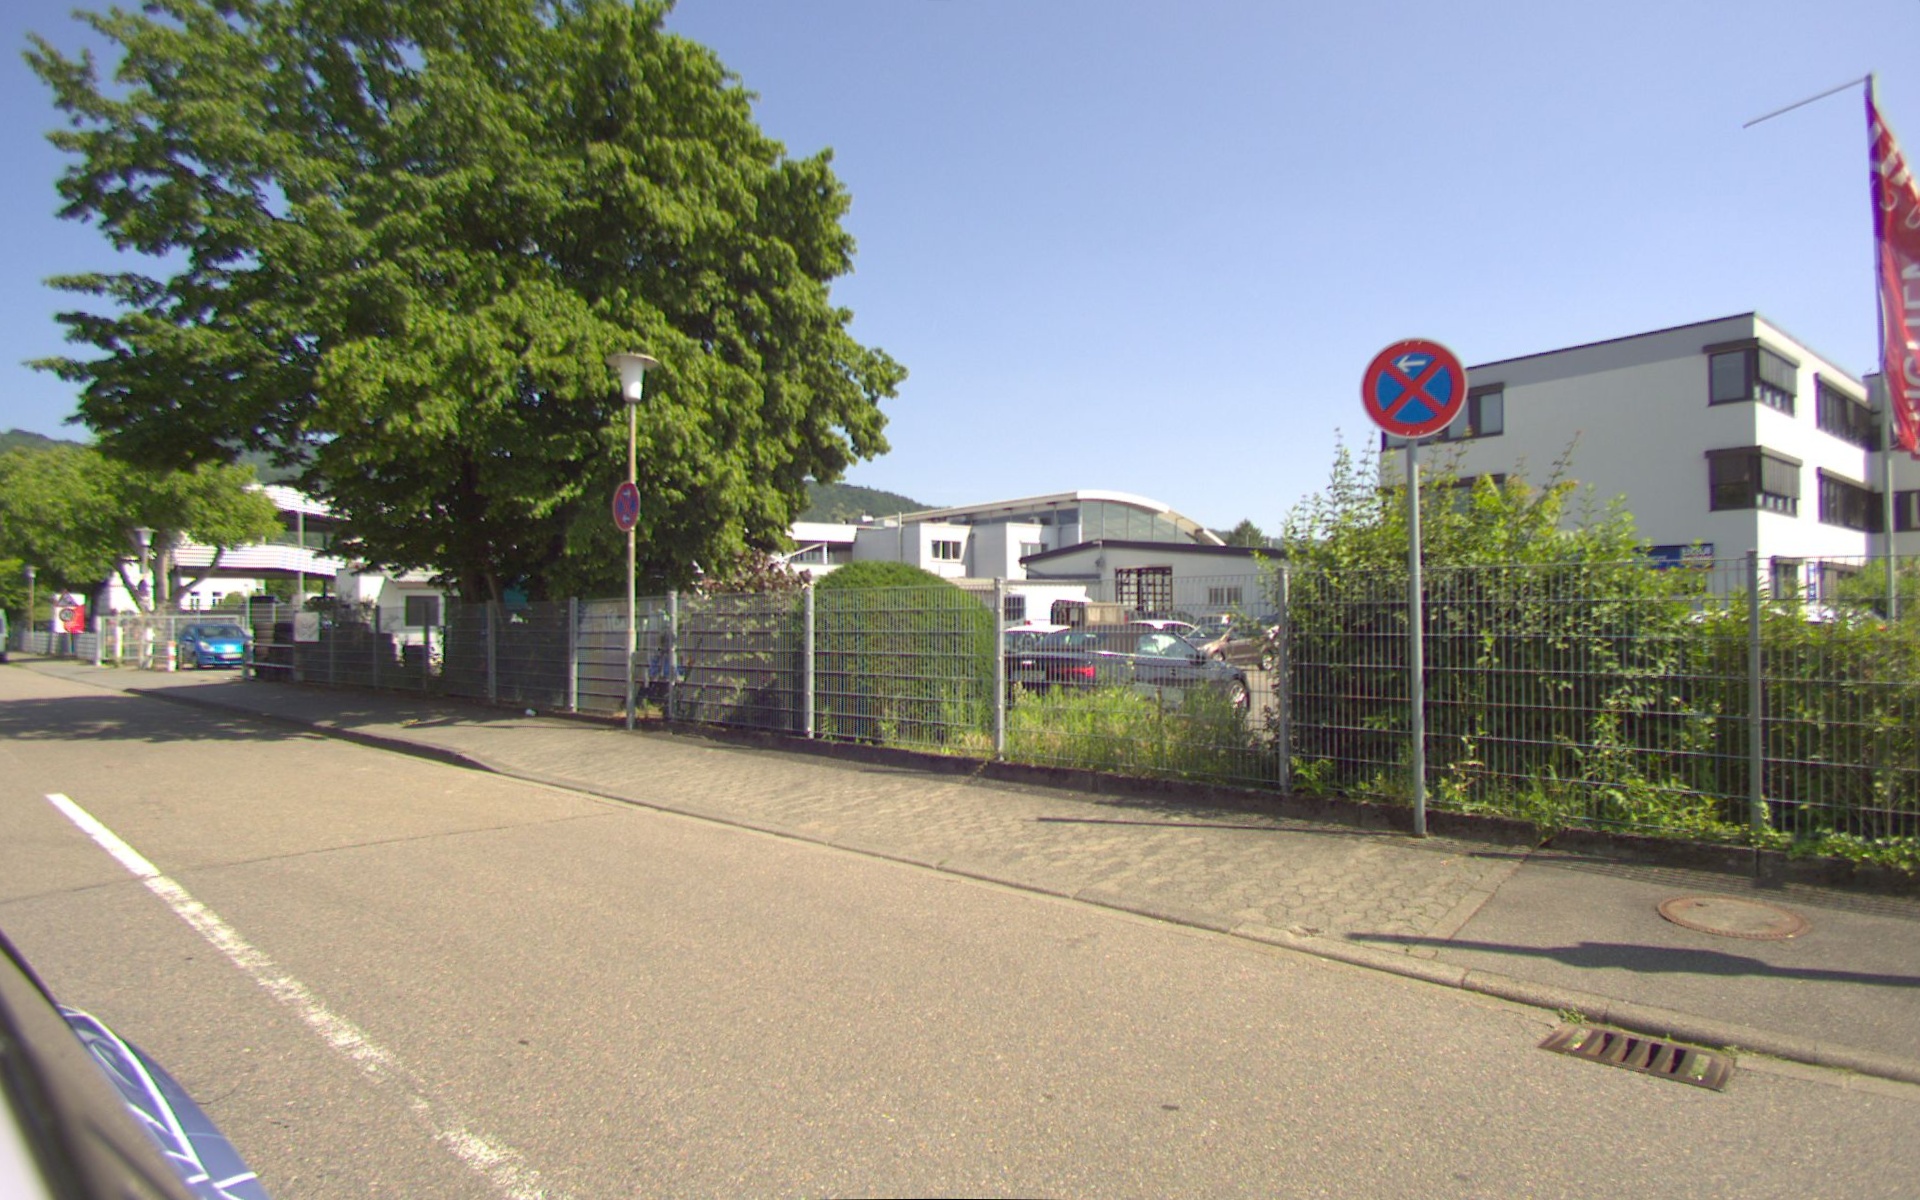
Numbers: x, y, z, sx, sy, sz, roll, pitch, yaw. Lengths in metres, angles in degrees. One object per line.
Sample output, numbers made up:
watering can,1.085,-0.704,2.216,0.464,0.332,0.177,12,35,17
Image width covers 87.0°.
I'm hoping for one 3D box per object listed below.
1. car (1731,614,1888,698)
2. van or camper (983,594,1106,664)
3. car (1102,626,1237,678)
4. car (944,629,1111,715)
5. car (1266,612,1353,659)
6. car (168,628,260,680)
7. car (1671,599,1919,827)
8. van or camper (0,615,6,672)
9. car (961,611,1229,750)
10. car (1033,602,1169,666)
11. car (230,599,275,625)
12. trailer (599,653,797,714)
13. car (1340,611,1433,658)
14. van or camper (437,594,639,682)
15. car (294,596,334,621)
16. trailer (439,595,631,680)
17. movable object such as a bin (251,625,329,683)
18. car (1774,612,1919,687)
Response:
car,17.362,1.088,20.642,3.775,1.553,1.744,1,-2,-39
van or camper,3.063,1.003,36.060,4.531,2.323,1.784,1,-1,-42
car,6.839,1.632,32.840,4.355,1.569,1.995,1,-2,-39
car,1.339,1.315,19.456,1.653,1.484,3.036,-2,-2,44
car,14.138,1.392,40.838,1.891,1.696,3.943,-1,1,43
car,-23.850,1.681,32.323,3.523,1.469,1.623,-1,1,41
car,7.077,0.774,8.165,1.713,1.444,3.899,0,-2,42
van or camper,-42.952,1.835,43.766,4.684,2.395,2.002,-1,-3,42
car,1.908,0.963,13.444,1.855,1.553,3.786,-2,-2,39
car,4.806,1.126,34.240,4.507,2.029,2.062,1,-2,-40
car,-41.567,0.754,59.515,1.680,1.469,3.536,1,-2,-27
trailer,-4.844,1.515,18.932,1.613,0.946,3.245,-2,-2,44
car,16.356,1.305,38.720,2.000,1.697,3.943,-2,-2,43
van or camper,-10.119,0.840,24.477,1.774,1.877,4.136,-1,1,44
car,-39.638,0.495,62.155,1.680,1.469,3.537,-2,1,-27
trailer,-12.236,0.991,29.364,2.000,2.171,4.719,-1,1,42
movable object such as a bin,-17.479,1.382,26.395,1.364,1.368,2.106,-2,1,-42
car,22.161,1.153,24.144,1.970,1.719,4.004,1,-2,-43
